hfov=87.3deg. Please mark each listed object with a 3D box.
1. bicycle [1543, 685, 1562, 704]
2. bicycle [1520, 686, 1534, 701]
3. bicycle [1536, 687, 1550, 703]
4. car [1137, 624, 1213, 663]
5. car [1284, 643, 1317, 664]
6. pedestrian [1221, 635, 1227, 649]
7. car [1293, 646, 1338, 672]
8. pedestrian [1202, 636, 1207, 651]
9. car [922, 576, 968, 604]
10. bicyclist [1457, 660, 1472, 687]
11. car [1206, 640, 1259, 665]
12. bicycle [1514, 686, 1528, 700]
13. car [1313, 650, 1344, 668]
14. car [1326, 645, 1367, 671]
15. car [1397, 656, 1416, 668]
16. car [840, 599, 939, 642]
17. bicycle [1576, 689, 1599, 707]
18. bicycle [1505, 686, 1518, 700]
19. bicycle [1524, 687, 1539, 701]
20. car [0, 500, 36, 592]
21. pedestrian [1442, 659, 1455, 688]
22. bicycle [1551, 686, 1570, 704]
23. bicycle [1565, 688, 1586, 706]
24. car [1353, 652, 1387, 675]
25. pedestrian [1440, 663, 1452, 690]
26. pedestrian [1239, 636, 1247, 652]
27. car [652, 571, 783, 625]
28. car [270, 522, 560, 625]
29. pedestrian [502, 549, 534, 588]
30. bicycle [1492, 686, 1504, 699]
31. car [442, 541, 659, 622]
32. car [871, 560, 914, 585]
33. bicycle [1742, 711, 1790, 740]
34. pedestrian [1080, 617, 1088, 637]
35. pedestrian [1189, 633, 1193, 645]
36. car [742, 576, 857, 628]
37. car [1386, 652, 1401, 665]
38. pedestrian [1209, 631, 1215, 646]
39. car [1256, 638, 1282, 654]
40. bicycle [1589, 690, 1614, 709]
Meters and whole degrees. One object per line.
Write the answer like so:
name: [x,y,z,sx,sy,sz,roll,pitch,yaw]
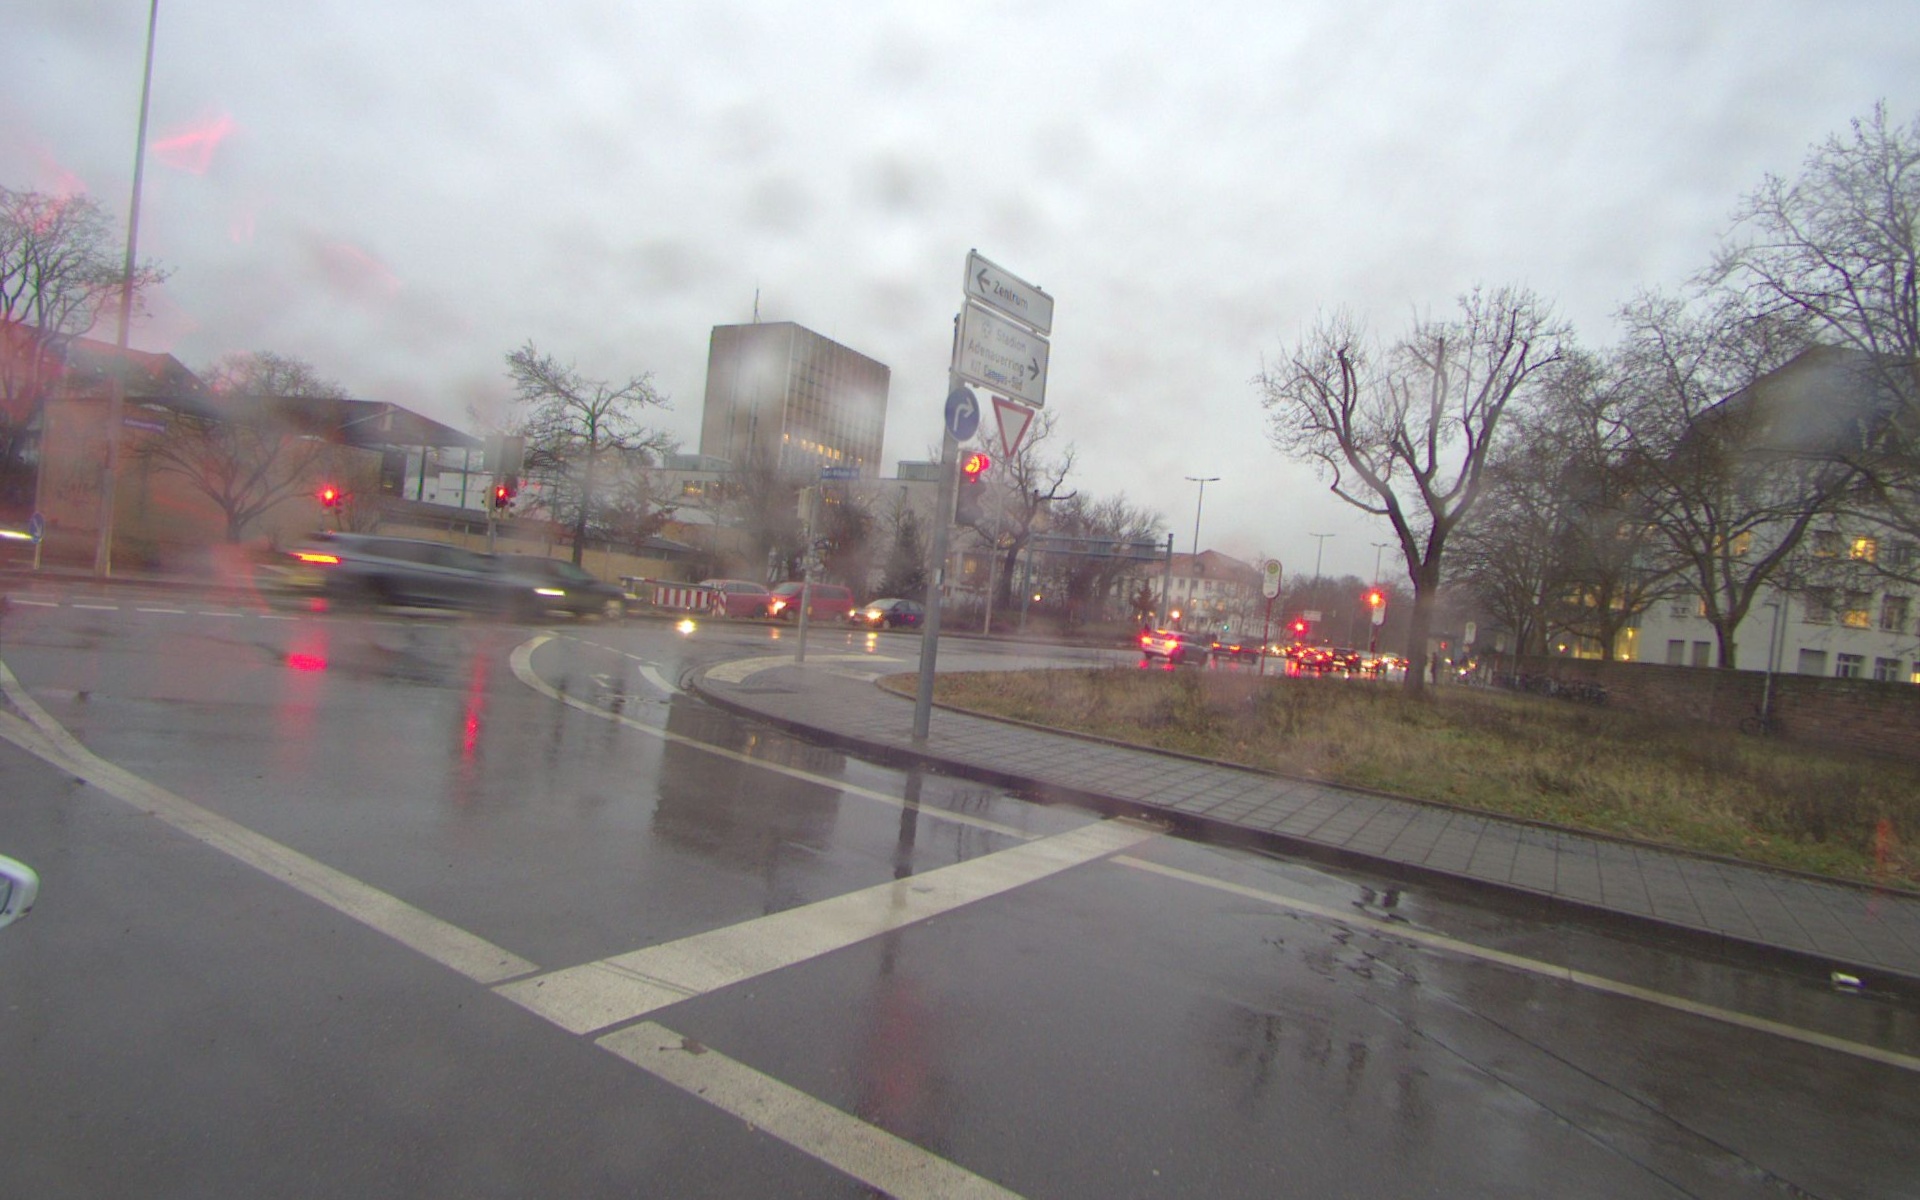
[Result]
bicycle: [31.846,5.072,54.083,0.387,0.927,1.532,7,-2,15]
bicycle: [33.327,5.484,59.141,0.387,0.795,1.532,7,-2,20]
bicycle: [32.417,5.288,55.948,0.387,0.795,1.607,7,-2,22]
car: [10.504,2.148,48.863,1.908,1.571,4.686,6,0,33]
car: [30.147,4.725,89.001,1.811,1.602,4.127,6,0,32]
pedestrian: [32.974,5.248,125.663,0.404,1.713,0.561,7,2,28]
car: [25.324,4.236,71.556,1.812,1.602,4.124,6,0,35]
pedestrian: [29.919,5.330,123.030,0.404,1.713,0.427,7,2,28]
car: [-1.490,-1.006,103.062,2.014,2.452,5.326,6,0,30]
bicyclist: [32.553,4.734,64.935,0.599,1.660,0.453,7,-1,19]
car: [17.803,3.456,65.571,1.907,1.318,4.686,6,0,33]
bicycle: [33.833,5.611,60.659,0.387,0.795,1.532,7,-2,20]
car: [31.347,4.992,85.518,1.673,1.318,3.757,6,0,32]
car: [29.757,4.503,77.386,1.812,1.710,4.311,6,-1,34]
car: [57.347,7.993,129.193,1.620,1.346,3.671,7,1,31]
car: [-3.043,0.911,43.982,1.784,1.496,4.411,6,0,37]
bicycle: [30.553,4.766,48.996,0.387,0.795,1.533,7,-2,14]
bicycle: [34.855,5.863,63.622,0.387,0.795,1.532,7,-2,20]
bicycle: [32.845,5.401,57.862,0.387,0.795,1.532,7,-2,19]
car: [-17.549,-1.074,15.982,1.785,1.496,3.951,6,0,38]
pedestrian: [34.799,5.233,71.633,0.557,2.040,0.595,8,2,33]
bicycle: [31.361,4.977,52.552,0.387,0.868,1.532,7,-2,15]
bicycle: [31.042,4.873,50.740,0.343,0.848,1.493,7,-2,13]
car: [34.283,5.286,84.027,1.811,1.710,4.311,6,0,32]
pedestrian: [30.156,4.730,62.414,0.462,1.623,0.486,7,-1,25]
pedestrian: [36.842,5.686,130.940,0.567,2.040,0.592,8,3,37]
car: [-8.662,-0.034,36.268,1.784,1.496,4.411,6,0,37]
car: [-10.454,-0.450,19.588,1.786,1.496,4.569,6,0,41]
pedestrian: [-20.169,-1.445,45.920,0.783,1.624,0.960,8,2,39]
bicycle: [36.395,6.244,68.102,0.387,0.795,1.532,7,-2,20]
car: [-9.967,-0.402,24.782,1.786,1.496,4.569,6,0,41]
car: [-7.130,-2.919,106.400,2.014,2.102,4.892,6,0,30]
bicycle: [28.206,4.397,35.221,0.387,0.834,1.386,7,-2,-4]
pedestrian: [11.323,2.451,91.809,0.411,1.725,0.430,8,3,44]
pedestrian: [27.350,4.652,119.095,0.258,1.364,0.289,8,2,31]
car: [-7.298,0.117,46.321,2.016,1.903,5.320,6,0,35]
car: [69.843,9.378,161.981,1.834,1.783,3.993,7,1,27]
pedestrian: [29.658,4.527,118.414,0.404,1.713,0.427,7,2,28]
car: [35.339,5.303,114.964,1.811,1.602,4.127,6,0,31]
bicycle: [30.279,4.670,47.472,0.352,0.795,1.415,7,-2,8]
